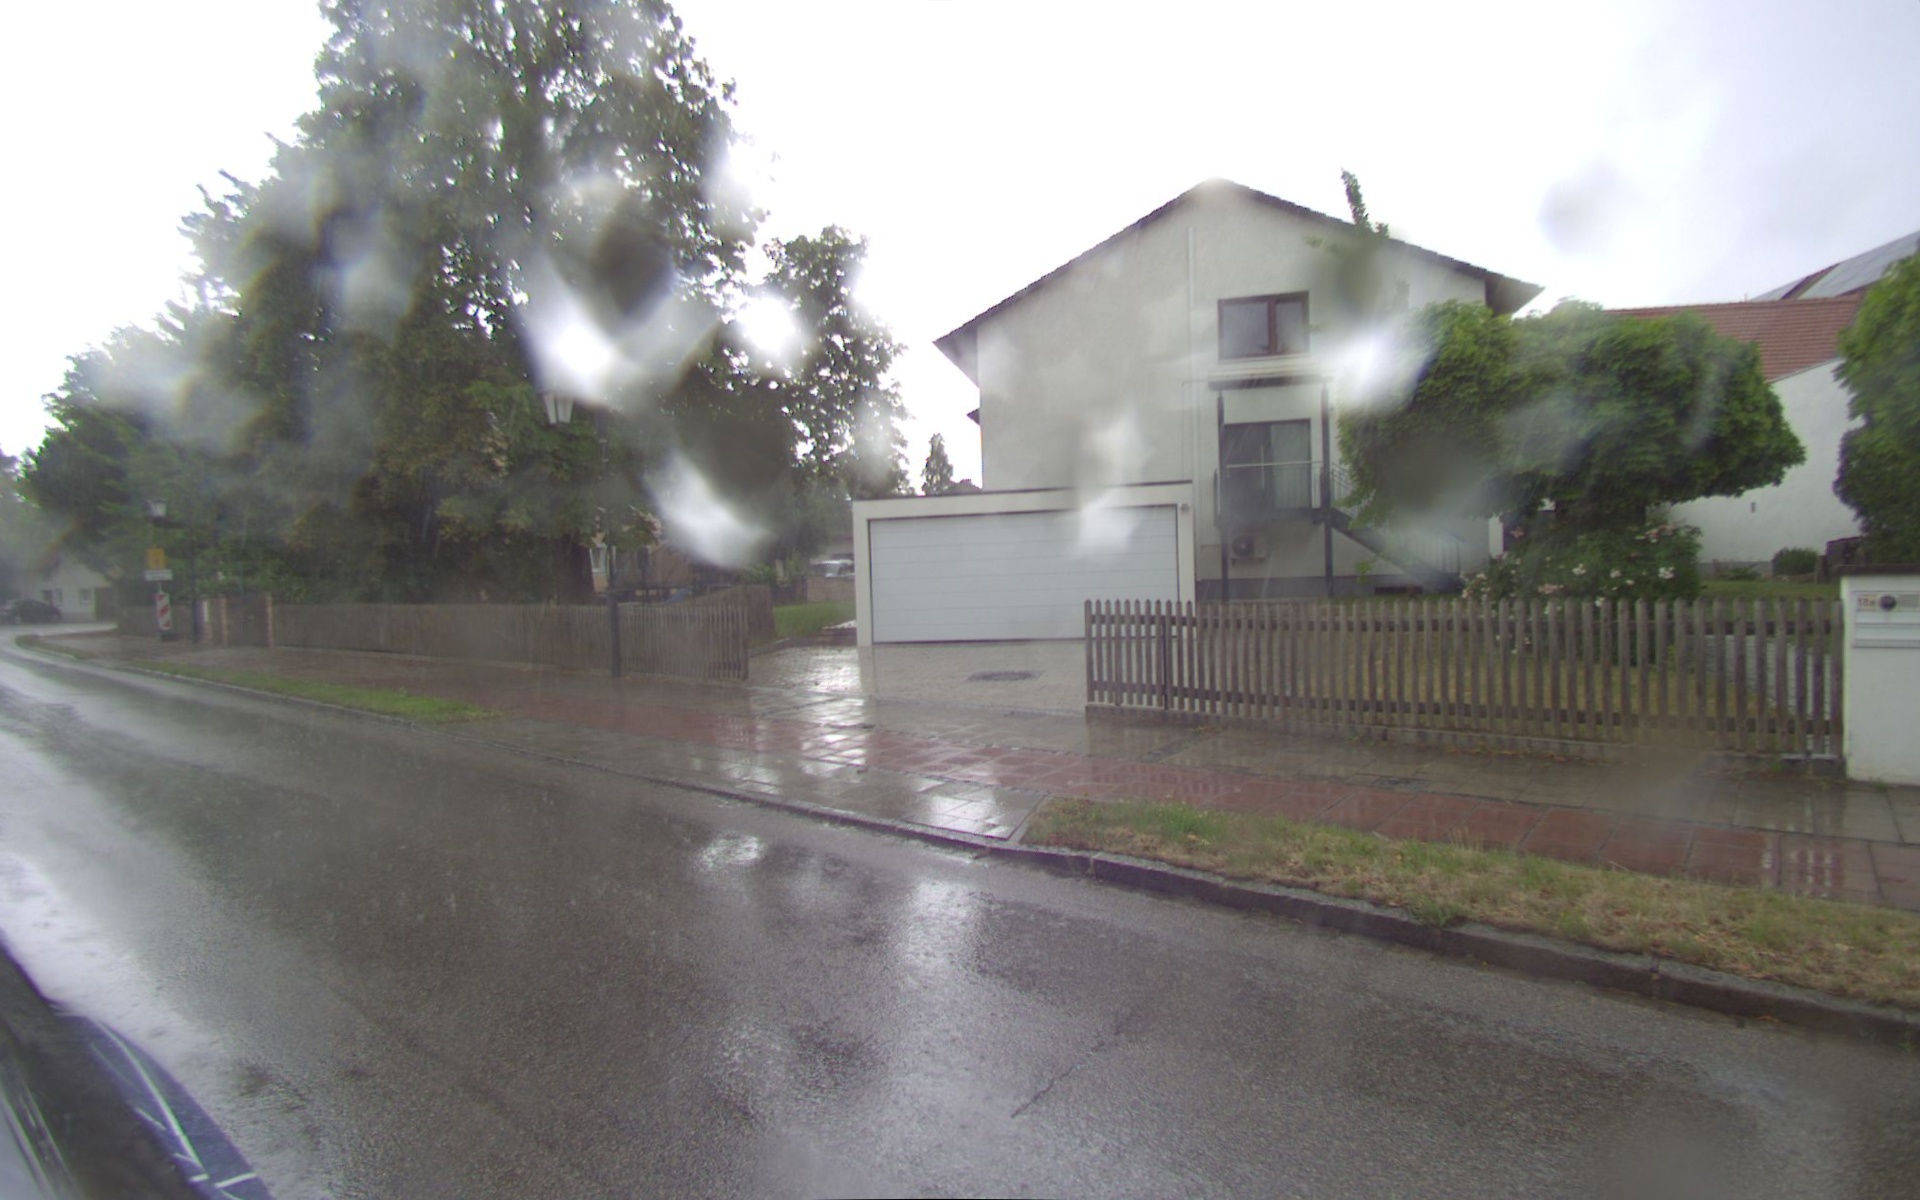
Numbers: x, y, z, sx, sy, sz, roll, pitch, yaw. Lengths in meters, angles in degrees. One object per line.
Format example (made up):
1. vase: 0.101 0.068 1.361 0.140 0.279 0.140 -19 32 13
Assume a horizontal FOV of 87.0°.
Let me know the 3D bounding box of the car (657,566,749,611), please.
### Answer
1. car: -11.896 -0.549 46.916 3.613 1.815 1.839 -3 2 8

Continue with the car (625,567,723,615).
1. car: -12.533 -0.408 44.407 3.613 1.815 1.839 -3 2 8

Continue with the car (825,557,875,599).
1. car: -6.234 -1.210 57.877 1.768 2.311 3.838 -1 0 11
